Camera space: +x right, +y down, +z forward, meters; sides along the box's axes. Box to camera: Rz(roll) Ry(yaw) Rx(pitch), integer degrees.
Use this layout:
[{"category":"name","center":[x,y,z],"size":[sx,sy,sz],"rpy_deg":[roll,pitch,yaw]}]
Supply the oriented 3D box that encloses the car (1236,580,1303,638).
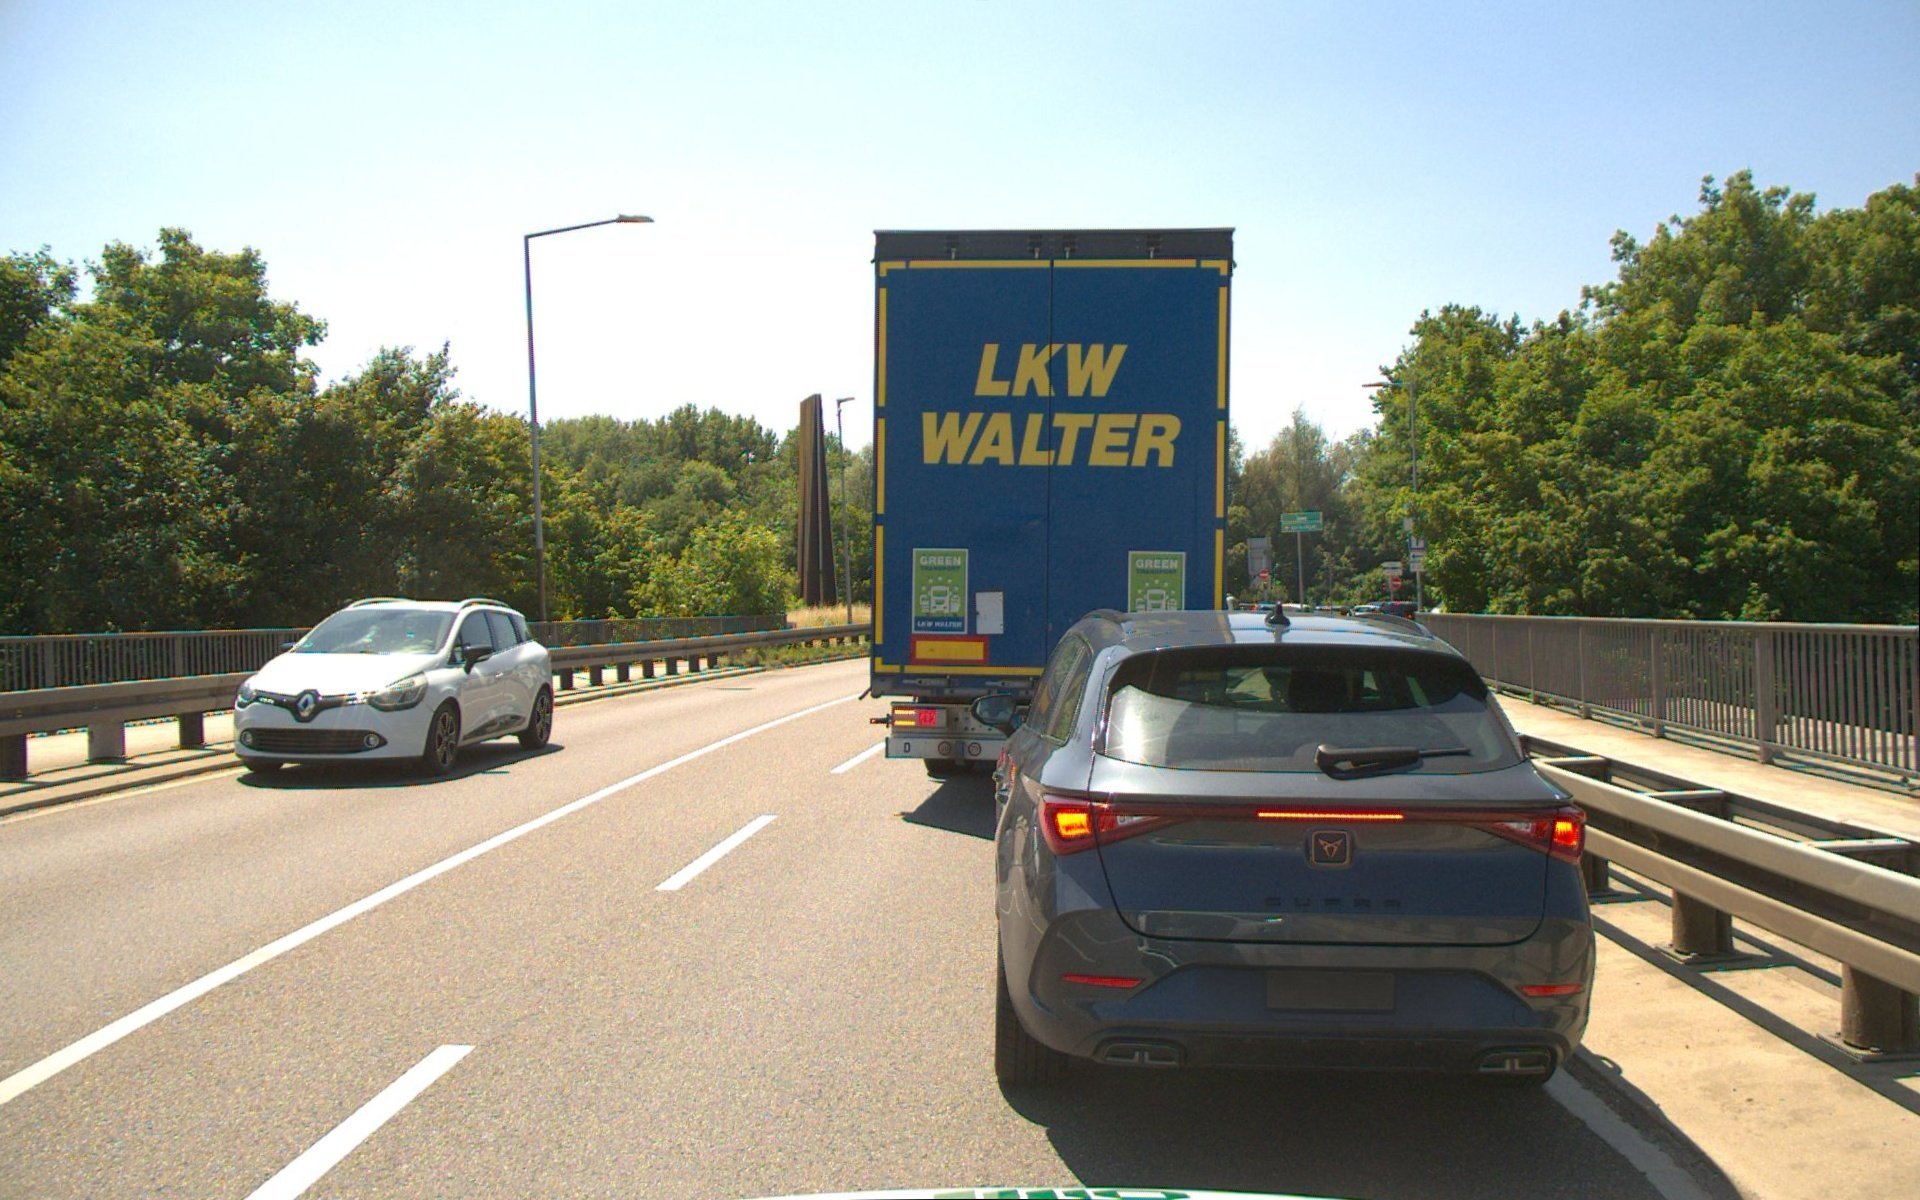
[{"category":"car","center":[10.383,0.267,55.321],"size":[1.685,1.876,4.002],"rpy_deg":[0,0,18]}]

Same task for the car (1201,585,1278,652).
[{"category":"car","center":[8.061,0.483,47.428],"size":[1.684,1.834,4.002],"rpy_deg":[0,0,17]}]

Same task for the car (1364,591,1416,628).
[{"category":"car","center":[20.997,0.478,80.675],"size":[1.653,1.791,3.995],"rpy_deg":[0,-1,28]}]

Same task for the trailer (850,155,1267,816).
[{"category":"trailer","center":[1.401,-0.816,17.592],"size":[2.843,4.496,12.442],"rpy_deg":[0,0,7]}]

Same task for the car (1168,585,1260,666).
[{"category":"car","center":[6.356,0.585,41.084],"size":[1.684,1.876,4.002],"rpy_deg":[0,1,17]}]

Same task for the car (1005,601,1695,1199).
[{"category":"car","center":[0.982,0.748,5.935],"size":[1.642,1.481,3.959],"rpy_deg":[0,0,1]}]

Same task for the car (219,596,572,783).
[{"category":"car","center":[-4.952,0.706,15.124],"size":[1.565,1.474,4.058],"rpy_deg":[0,0,5]}]

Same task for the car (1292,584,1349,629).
[{"category":"car","center":[14.925,0.292,68.376],"size":[1.651,1.791,3.999],"rpy_deg":[0,-1,22]}]

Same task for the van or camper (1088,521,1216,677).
[{"category":"van or camper","center":[4.019,-0.034,33.675],"size":[2.108,2.865,6.393],"rpy_deg":[0,0,11]}]

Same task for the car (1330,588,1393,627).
[{"category":"car","center":[18.172,0.350,74.679],"size":[1.954,1.603,3.996],"rpy_deg":[2,-1,26]}]

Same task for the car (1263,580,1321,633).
[{"category":"car","center":[12.417,0.222,61.687],"size":[1.685,1.876,4.002],"rpy_deg":[0,0,18]}]

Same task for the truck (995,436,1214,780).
[{"category":"truck","center":[2.297,0.080,25.083],"size":[2.843,4.496,6.560],"rpy_deg":[0,0,7]}]
